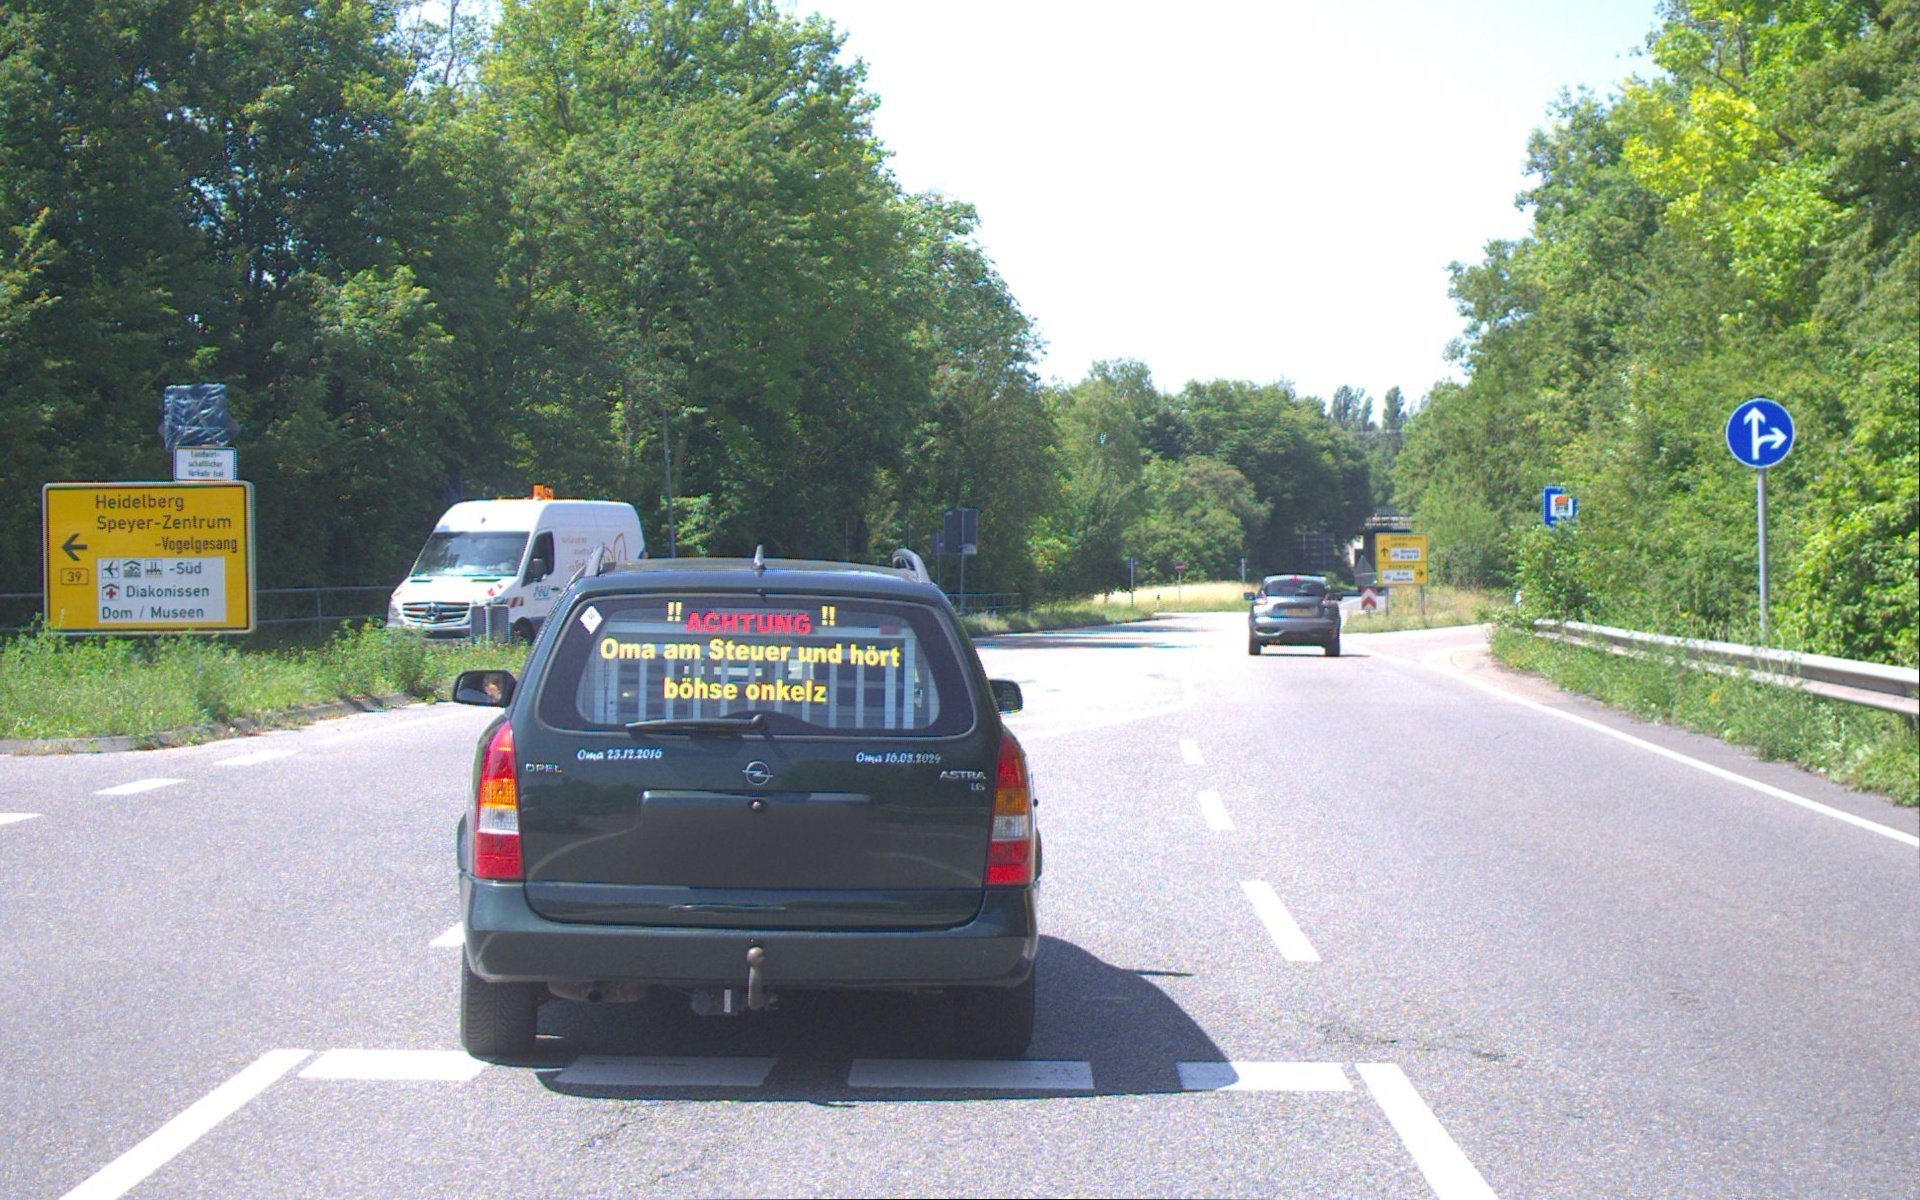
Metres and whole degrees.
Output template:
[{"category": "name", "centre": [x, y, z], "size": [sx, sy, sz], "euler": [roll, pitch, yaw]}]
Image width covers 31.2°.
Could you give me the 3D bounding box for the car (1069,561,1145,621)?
[{"category": "car", "centre": [7.896, -0.504, 184.990], "size": [1.993, 3.215, 4.809], "euler": [-1, 1, -27]}]

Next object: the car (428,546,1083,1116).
[{"category": "car", "centre": [-0.783, 0.575, 10.943], "size": [1.720, 1.452, 3.798], "euler": [0, 1, -8]}]

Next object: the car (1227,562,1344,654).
[{"category": "car", "centre": [6.322, 0.131, 67.144], "size": [1.843, 1.679, 4.000], "euler": [0, 1, -1]}]

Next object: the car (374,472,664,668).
[{"category": "car", "centre": [-6.692, -0.469, 52.994], "size": [2.107, 2.840, 6.007], "euler": [1, 1, 17]}]
